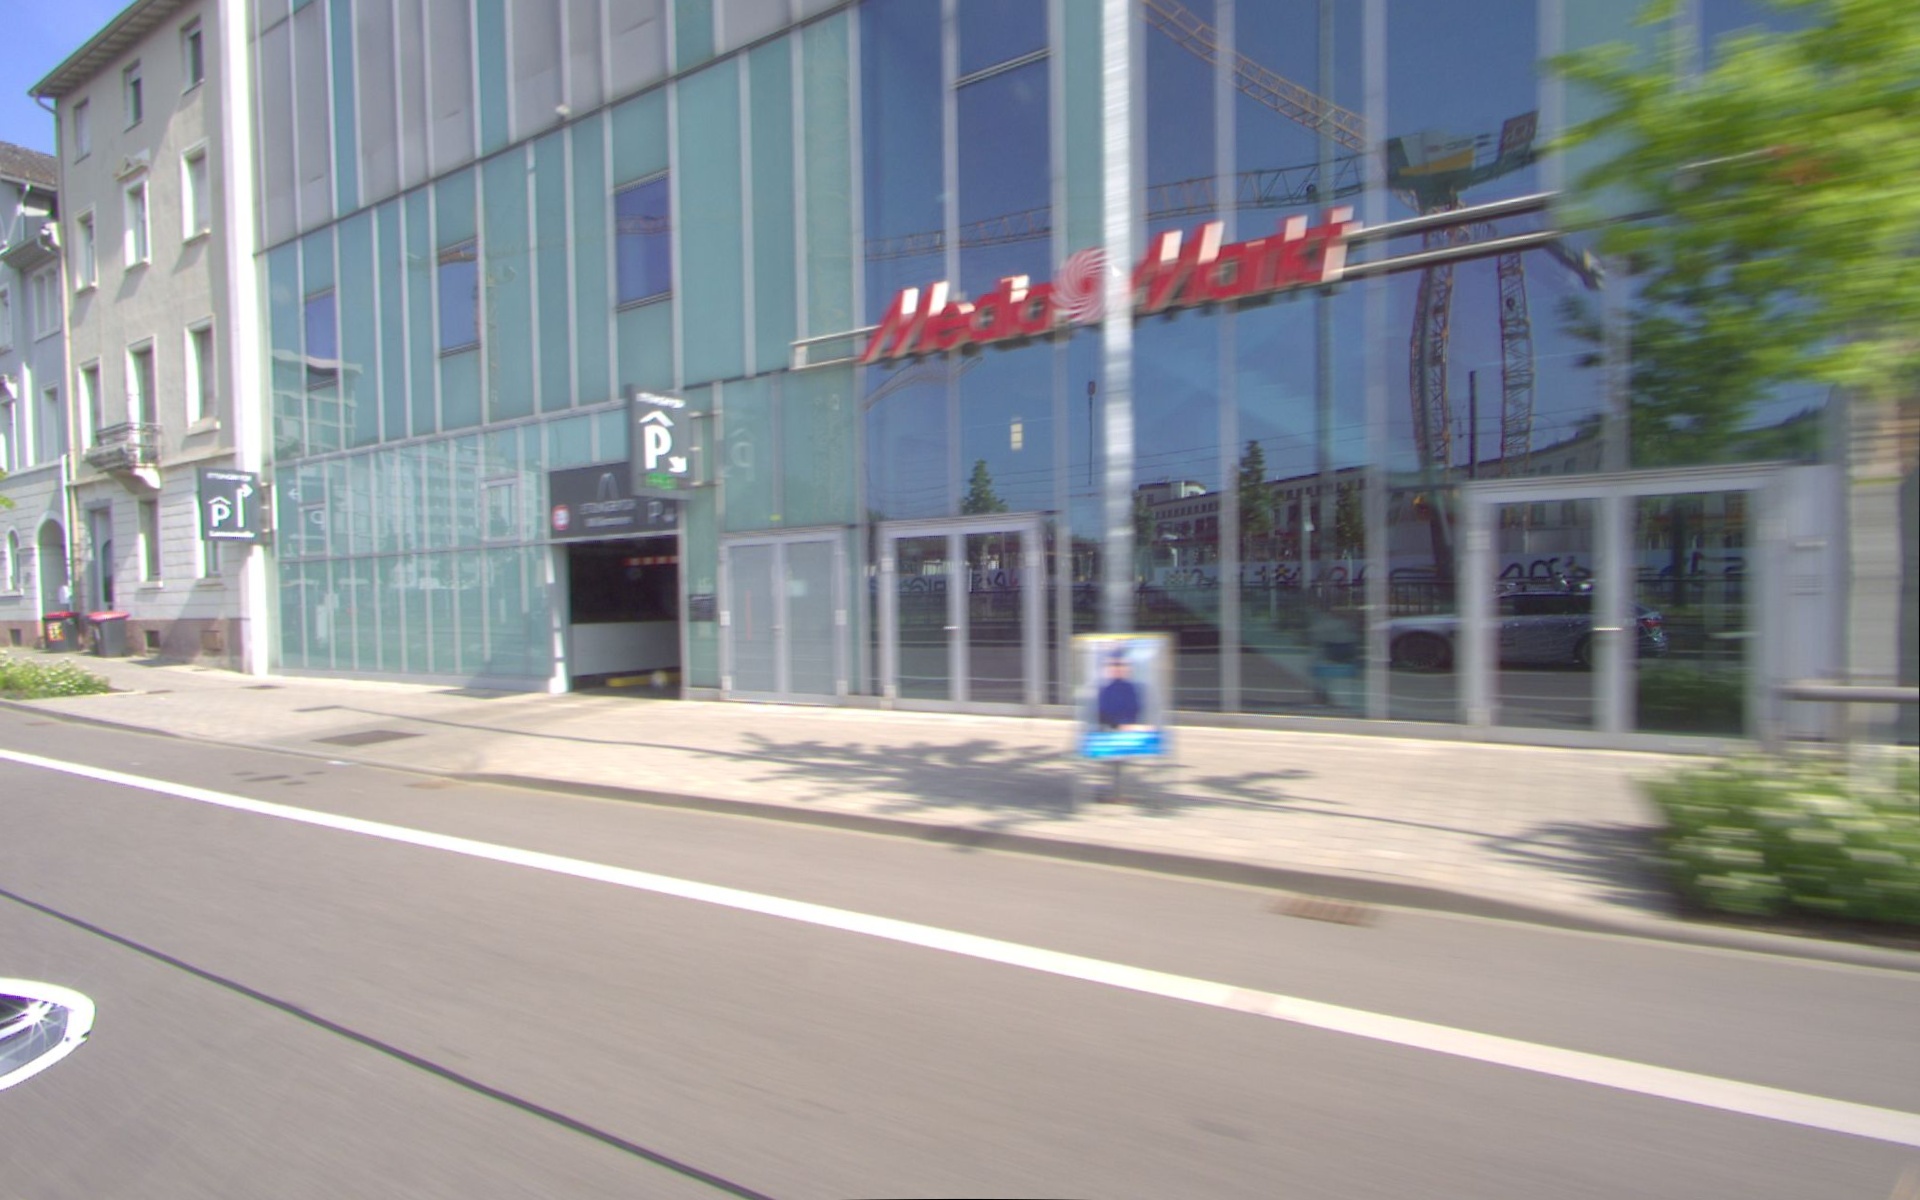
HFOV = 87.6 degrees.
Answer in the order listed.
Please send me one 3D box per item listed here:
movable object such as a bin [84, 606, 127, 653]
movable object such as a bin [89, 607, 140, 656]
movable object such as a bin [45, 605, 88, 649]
[{"bbox_3d":[-22.184,0.756,25.997,0.661,1.168,0.703,2,2,32],"label":"movable object such as a bin"},{"bbox_3d":[-21.432,0.774,25.395,0.796,1.188,0.780,2,2,32],"label":"movable object such as a bin"},{"bbox_3d":[-24.275,0.723,27.210,0.606,1.168,0.670,1,2,-11],"label":"movable object such as a bin"}]
